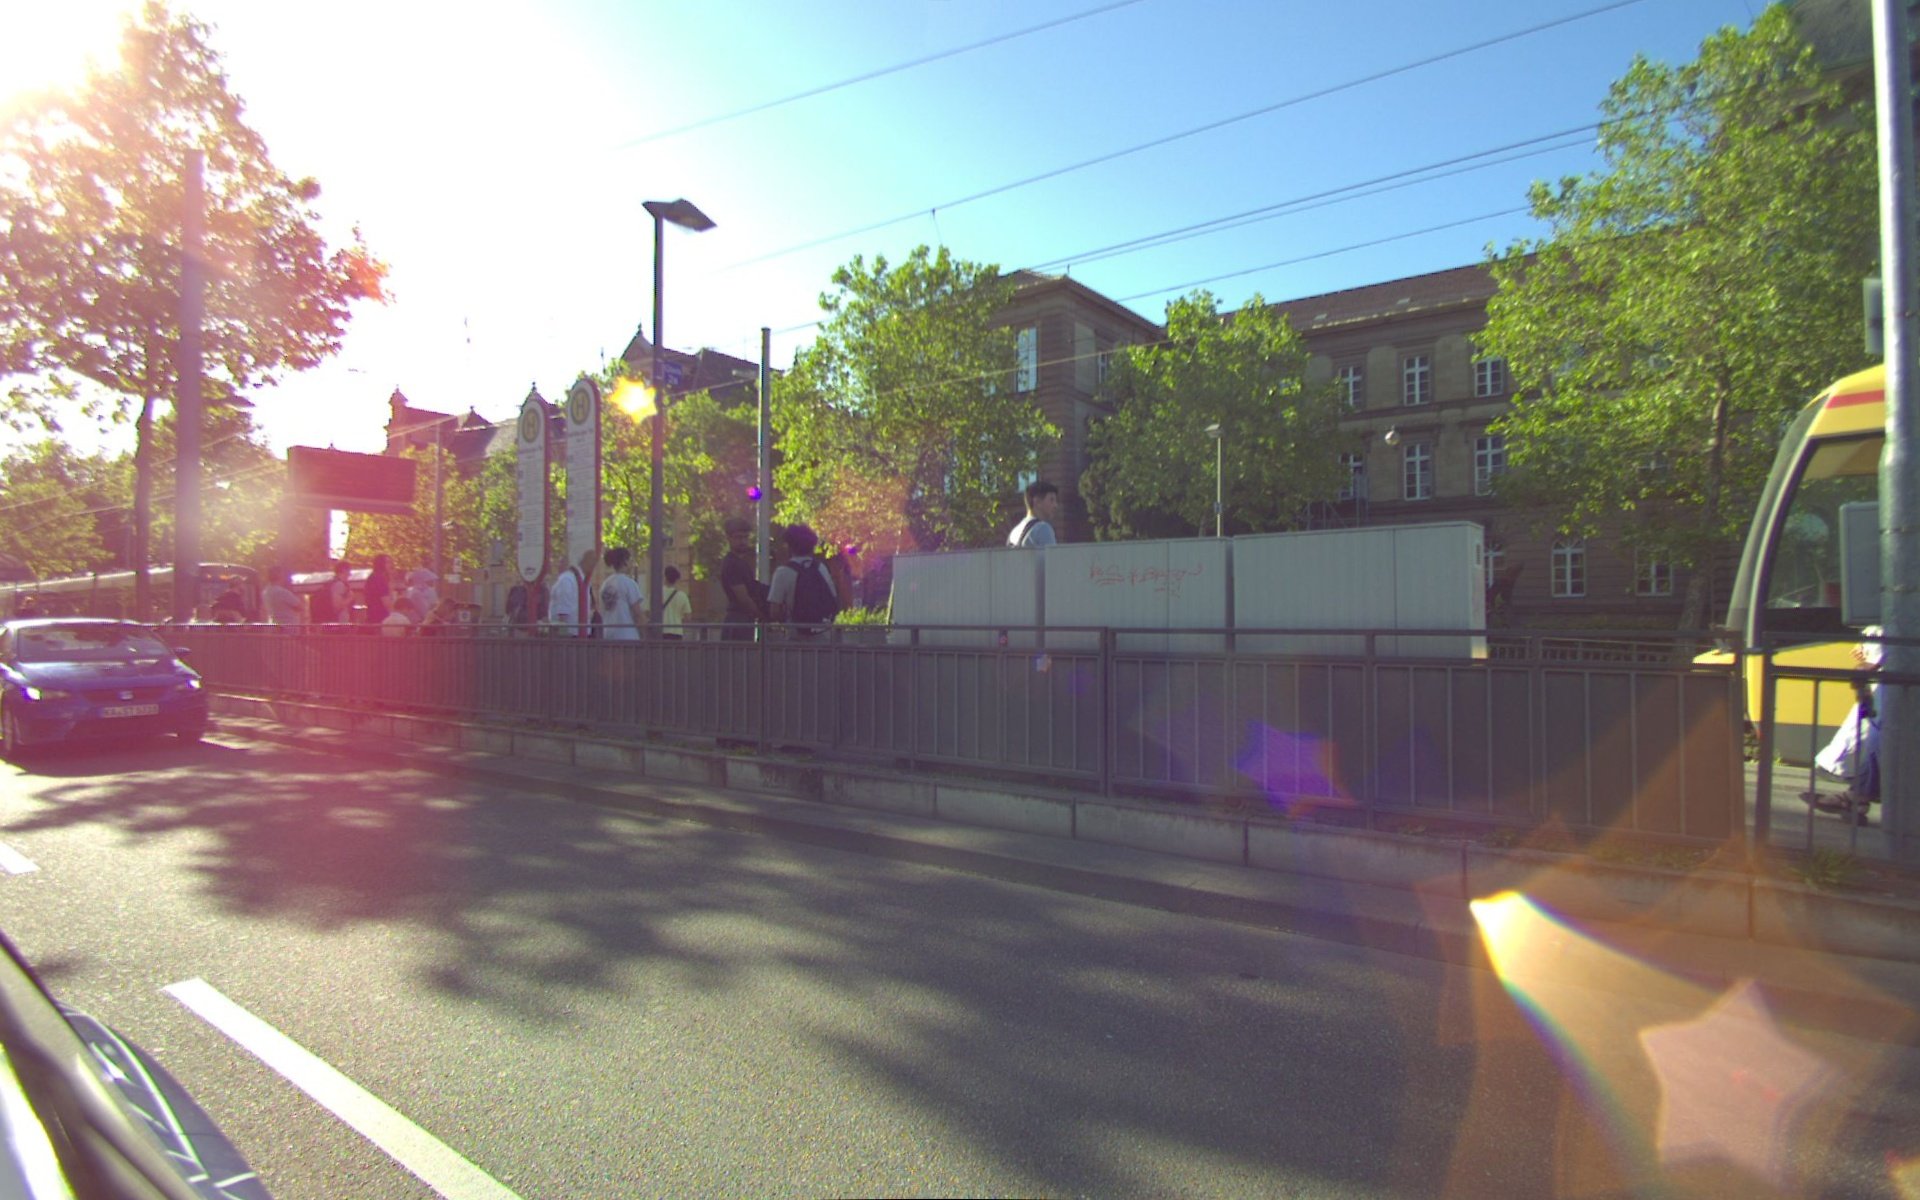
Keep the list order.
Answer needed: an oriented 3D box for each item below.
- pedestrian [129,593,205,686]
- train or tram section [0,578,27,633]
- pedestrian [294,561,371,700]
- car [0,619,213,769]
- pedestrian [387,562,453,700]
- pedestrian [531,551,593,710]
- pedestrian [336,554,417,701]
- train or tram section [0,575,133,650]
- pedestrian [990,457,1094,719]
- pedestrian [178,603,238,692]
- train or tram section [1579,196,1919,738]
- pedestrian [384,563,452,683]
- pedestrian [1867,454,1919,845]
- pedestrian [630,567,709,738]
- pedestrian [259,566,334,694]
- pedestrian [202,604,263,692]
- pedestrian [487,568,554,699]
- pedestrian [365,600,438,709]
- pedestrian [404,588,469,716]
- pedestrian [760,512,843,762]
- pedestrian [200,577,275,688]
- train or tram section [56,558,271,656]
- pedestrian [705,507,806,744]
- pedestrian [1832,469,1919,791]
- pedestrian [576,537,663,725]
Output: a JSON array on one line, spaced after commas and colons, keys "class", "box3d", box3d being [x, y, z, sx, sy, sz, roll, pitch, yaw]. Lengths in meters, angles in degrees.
[{"class": "pedestrian", "box3d": [-13.334, 0.663, 17.022, 0.750, 1.521, 0.769, -1, -3, 34]}, {"class": "train or tram section", "box3d": [-50.848, 0.387, 51.488, 15.050, 2.551, 2.538, -1, -2, 38]}, {"class": "pedestrian", "box3d": [-7.940, 0.386, 12.816, 0.570, 1.709, 0.654, -2, -3, 38]}, {"class": "car", "box3d": [-10.298, 0.970, 11.778, 3.871, 1.426, 1.685, -1, -1, 39]}, {"class": "pedestrian", "box3d": [-6.938, 0.394, 13.007, 0.620, 1.721, 0.510, -1, -2, 37]}, {"class": "pedestrian", "box3d": [-4.414, 0.340, 11.249, 0.601, 1.715, 0.508, 1, -2, -20]}, {"class": "pedestrian", "box3d": [-7.029, 0.326, 12.204, 0.570, 1.709, 0.654, -2, -3, 38]}, {"class": "train or tram section", "box3d": [-48.137, 0.770, 53.510, 18.248, 3.460, 2.844, -1, -1, 38]}, {"class": "pedestrian", "box3d": [0.582, -0.073, 7.134, 0.538, 1.747, 0.543, -1, -2, 33]}, {"class": "pedestrian", "box3d": [-11.426, 0.716, 15.385, 0.603, 1.309, 0.529, -1, -3, 34]}, {"class": "train or tram section", "box3d": [11.608, -0.829, 3.627, 15.864, 3.284, 2.888, 0, 1, 37]}, {"class": "pedestrian", "box3d": [-7.736, 0.330, 14.455, 0.621, 1.662, 0.613, -1, -2, 33]}, {"class": "pedestrian", "box3d": [4.402, 0.217, 4.338, 0.639, 1.631, 0.634, 2, 0, 34]}, {"class": "pedestrian", "box3d": [-3.136, 0.558, 10.942, 0.610, 1.783, 0.548, -1, -2, 33]}, {"class": "pedestrian", "box3d": [-8.817, 0.402, 13.451, 0.570, 1.646, 0.654, -2, -3, 38]}, {"class": "pedestrian", "box3d": [-10.616, 0.694, 14.774, 0.603, 1.256, 0.529, -1, -3, 35]}, {"class": "pedestrian", "box3d": [-5.340, 0.405, 12.292, 0.530, 1.530, 0.540, -1, -3, 37]}, {"class": "pedestrian", "box3d": [-6.399, 0.617, 11.600, 0.530, 1.201, 0.540, -1, -2, 37]}, {"class": "pedestrian", "box3d": [-5.581, 0.551, 10.793, 0.506, 1.326, 0.412, -1, -2, 36]}, {"class": "pedestrian", "box3d": [-1.136, 0.264, 7.342, 0.541, 1.747, 0.540, 0, -2, -3]}, {"class": "pedestrian", "box3d": [-11.882, 0.532, 16.649, 0.721, 1.766, 0.769, -1, -3, 34]}, {"class": "train or tram section", "box3d": [-33.764, 0.427, 42.285, 18.187, 3.460, 2.822, -1, -1, 38]}, {"class": "pedestrian", "box3d": [-1.579, 0.196, 7.850, 0.538, 1.747, 0.543, -1, -2, 33]}, {"class": "pedestrian", "box3d": [5.299, 0.165, 5.644, 0.544, 1.715, 0.603, -1, -2, 33]}, {"class": "pedestrian", "box3d": [-3.226, 0.295, 9.610, 0.610, 1.715, 0.501, -1, -2, 33]}]
